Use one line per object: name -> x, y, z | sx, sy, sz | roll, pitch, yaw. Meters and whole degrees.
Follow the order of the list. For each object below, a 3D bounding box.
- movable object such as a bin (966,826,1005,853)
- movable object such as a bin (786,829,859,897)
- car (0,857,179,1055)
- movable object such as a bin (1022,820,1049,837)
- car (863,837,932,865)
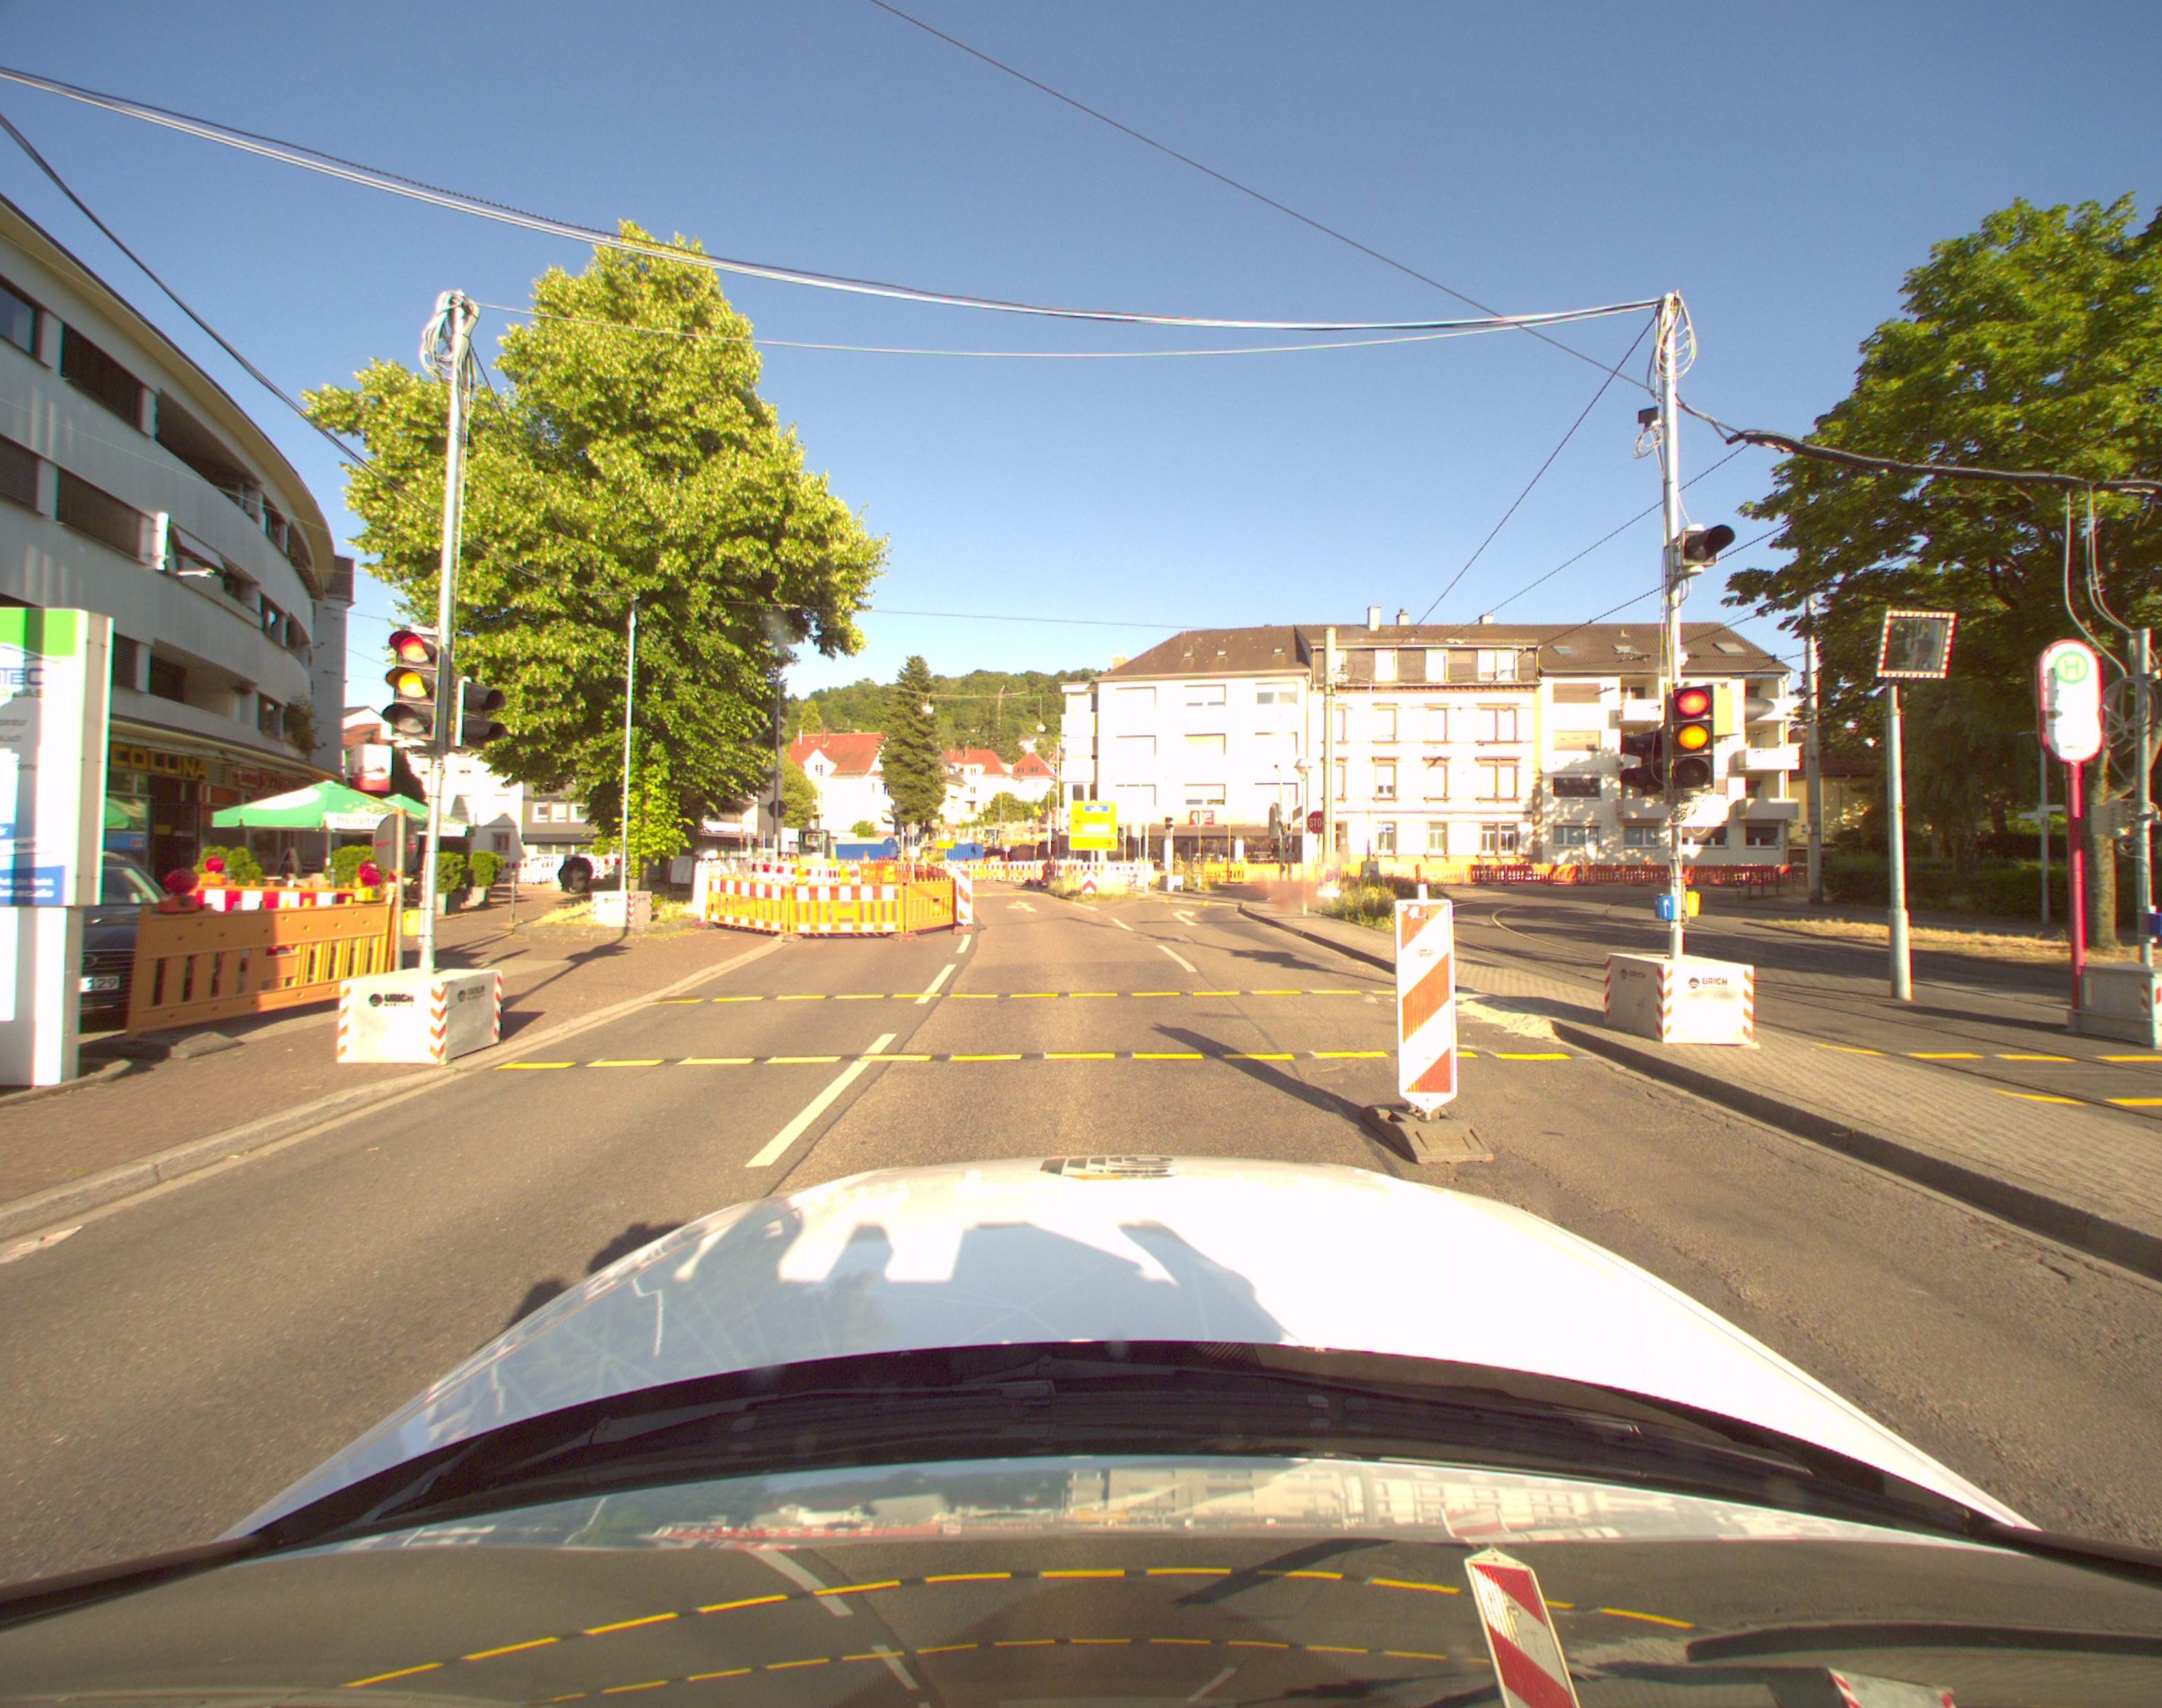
movable object such as a bin -> -9.244, -1.342, 79.395 | 1.932, 2.494, 4.574 | -1, -1, 20
movable object such as a bin -> -9.391, 0.302, 29.878 | 1.643, 2.324, 3.916 | 0, 0, -3
car -> -9.321, 0.780, 7.311 | 3.835, 1.438, 1.606 | -1, 0, 42
movable object such as a bin -> -6.423, -3.585, 115.295 | 2.549, 2.122, 5.801 | -1, -1, 11
car -> -14.952, -0.222, 66.711 | 2.562, 2.121, 6.181 | -1, -1, 20
